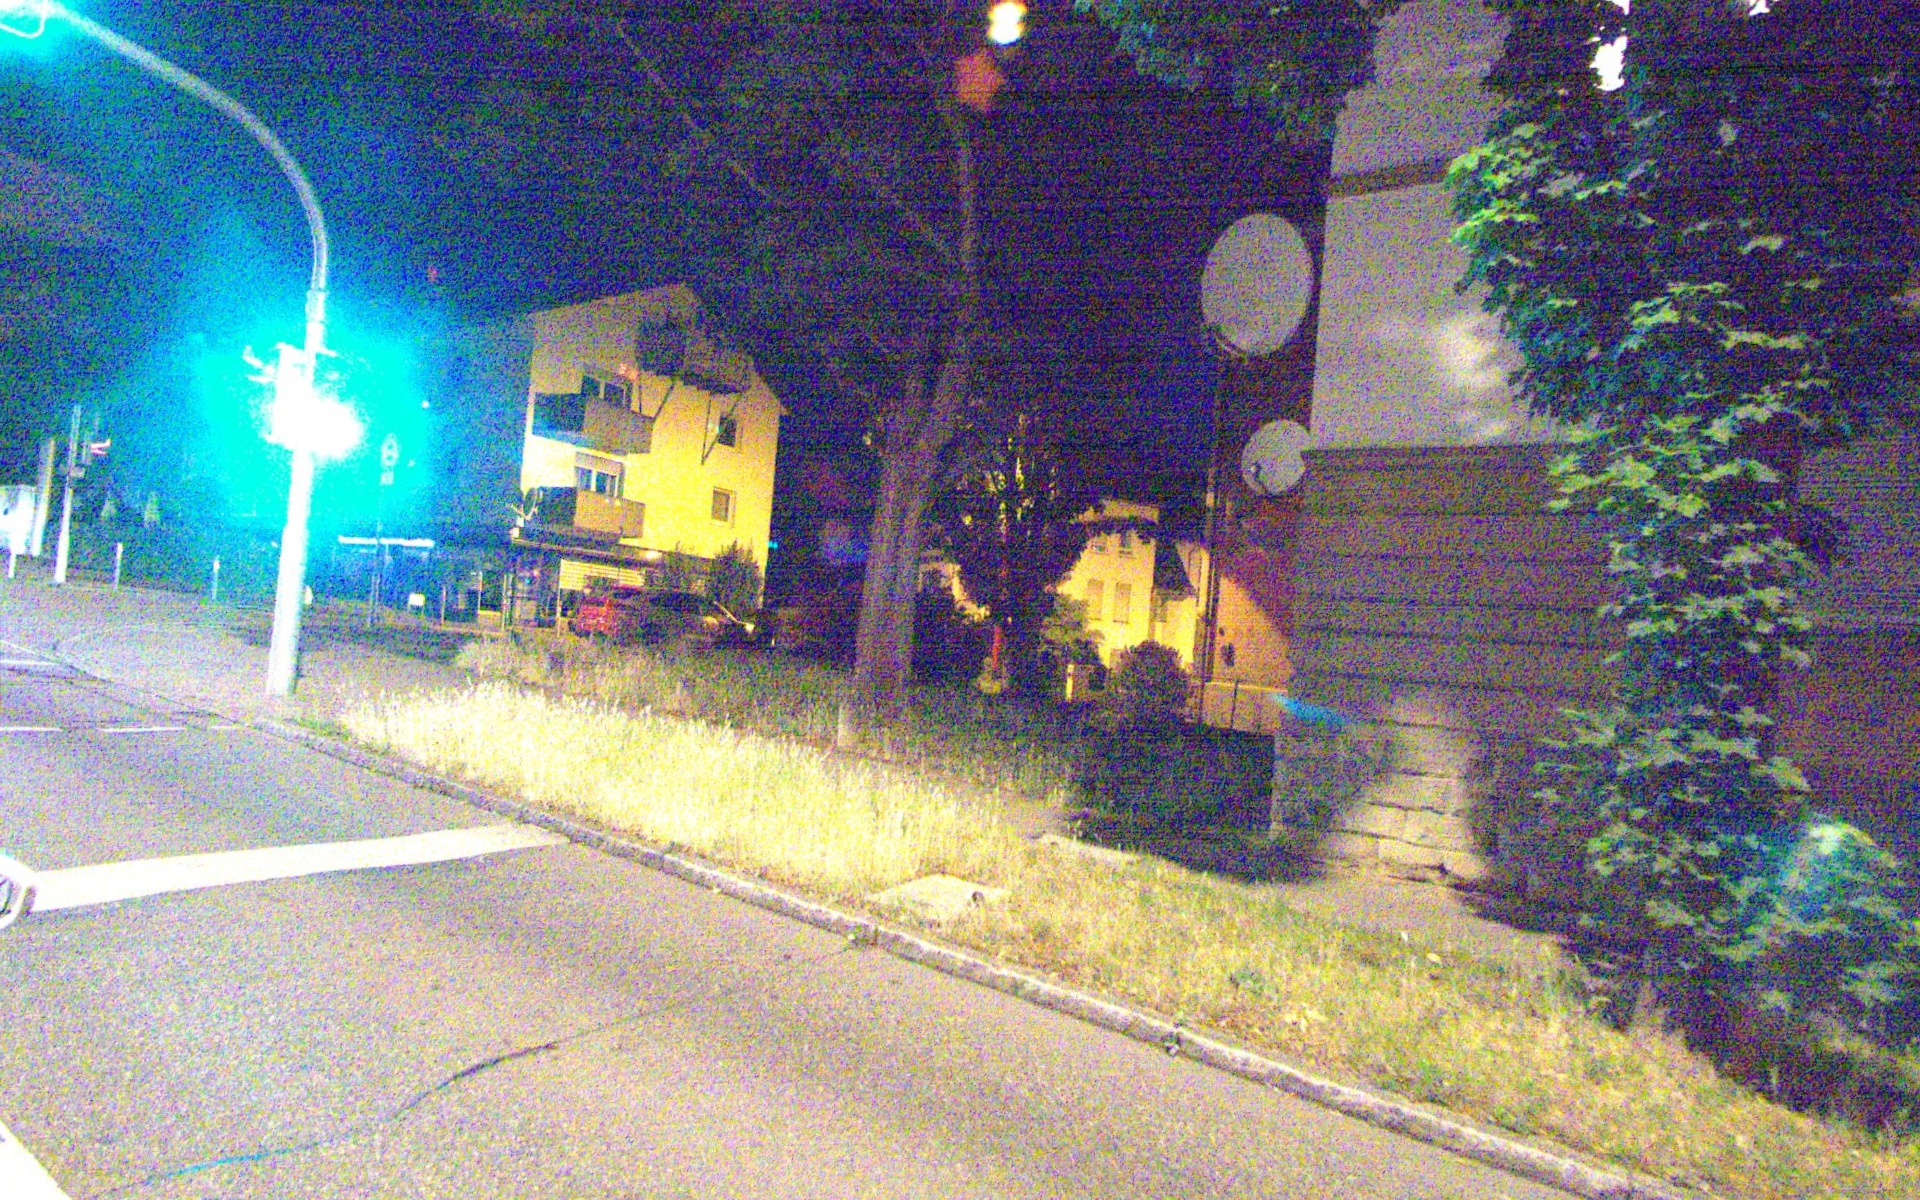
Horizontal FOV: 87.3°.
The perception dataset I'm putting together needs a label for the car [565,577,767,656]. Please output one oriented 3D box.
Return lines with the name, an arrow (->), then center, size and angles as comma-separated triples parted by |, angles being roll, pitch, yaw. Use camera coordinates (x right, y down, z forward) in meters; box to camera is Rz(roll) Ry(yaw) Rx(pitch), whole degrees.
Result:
car -> -6.689, 0.427, 23.251 | 1.740, 1.295, 4.131 | 6, -3, 39
